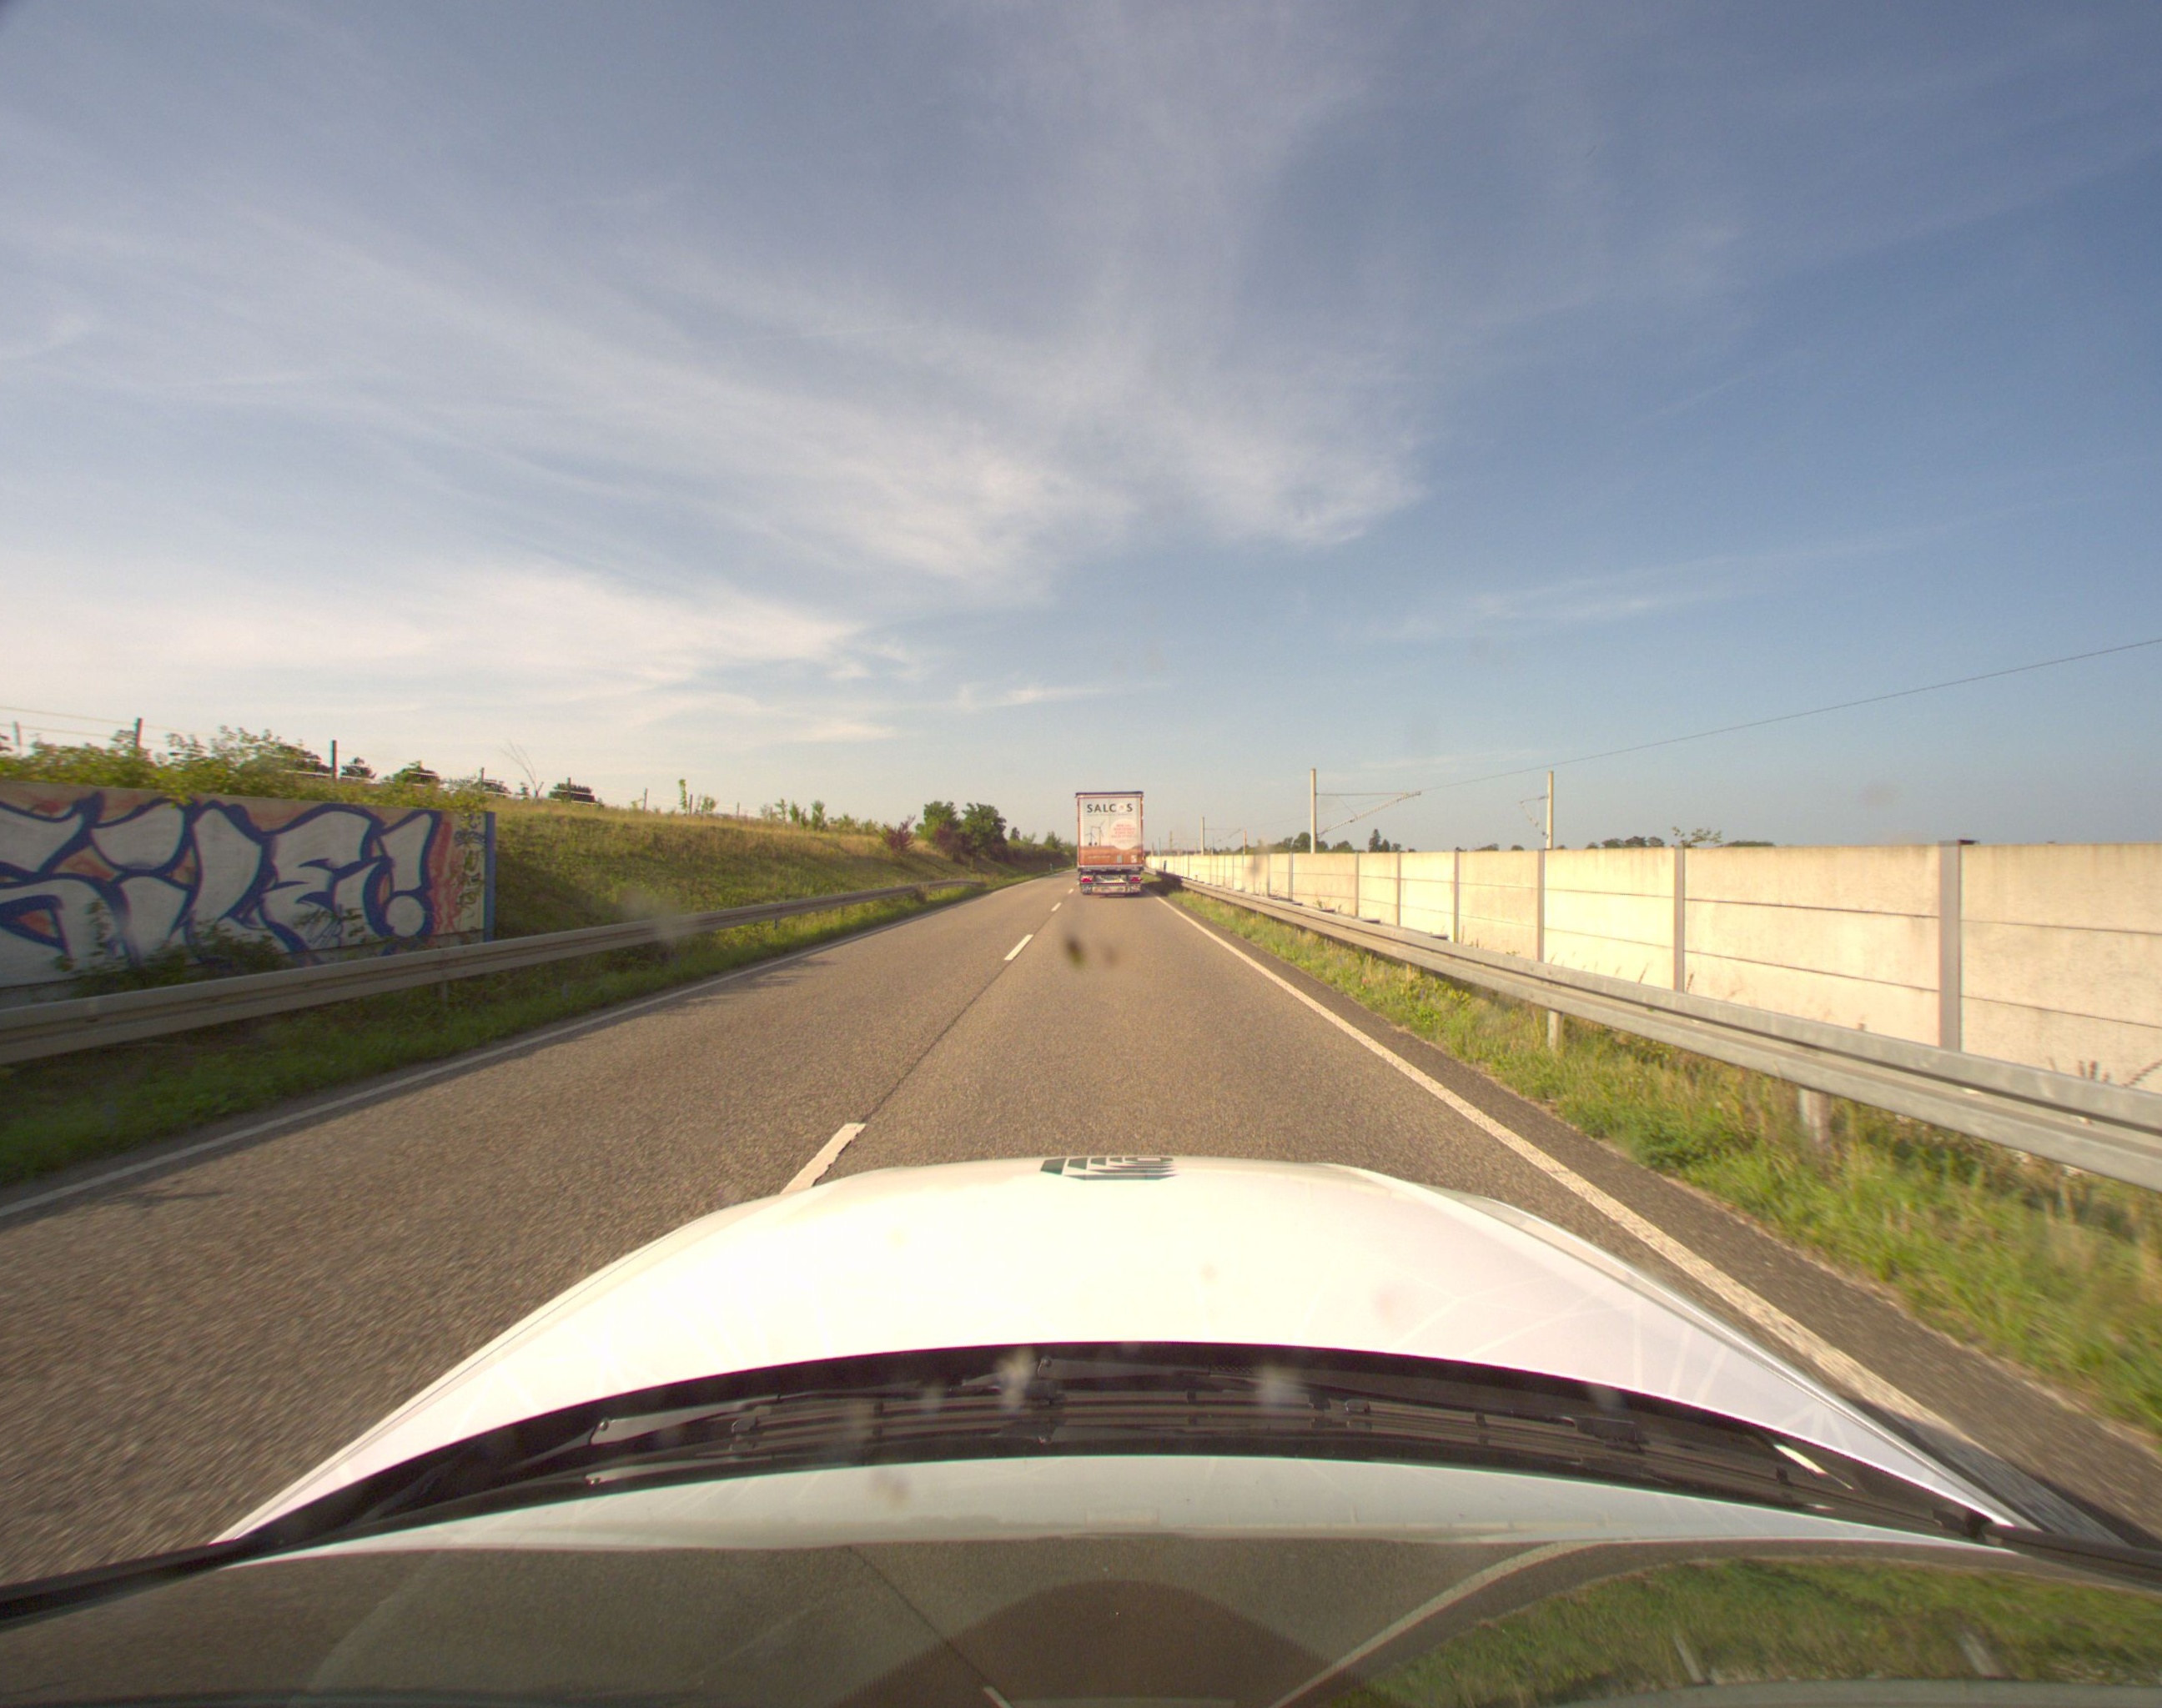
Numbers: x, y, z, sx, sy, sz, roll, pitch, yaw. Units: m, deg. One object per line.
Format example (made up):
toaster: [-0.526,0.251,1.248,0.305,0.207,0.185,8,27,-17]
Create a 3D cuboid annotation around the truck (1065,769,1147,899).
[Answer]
truck: [1.097,-0.763,37.082,3.022,4.920,11.687,-1,0,1]
